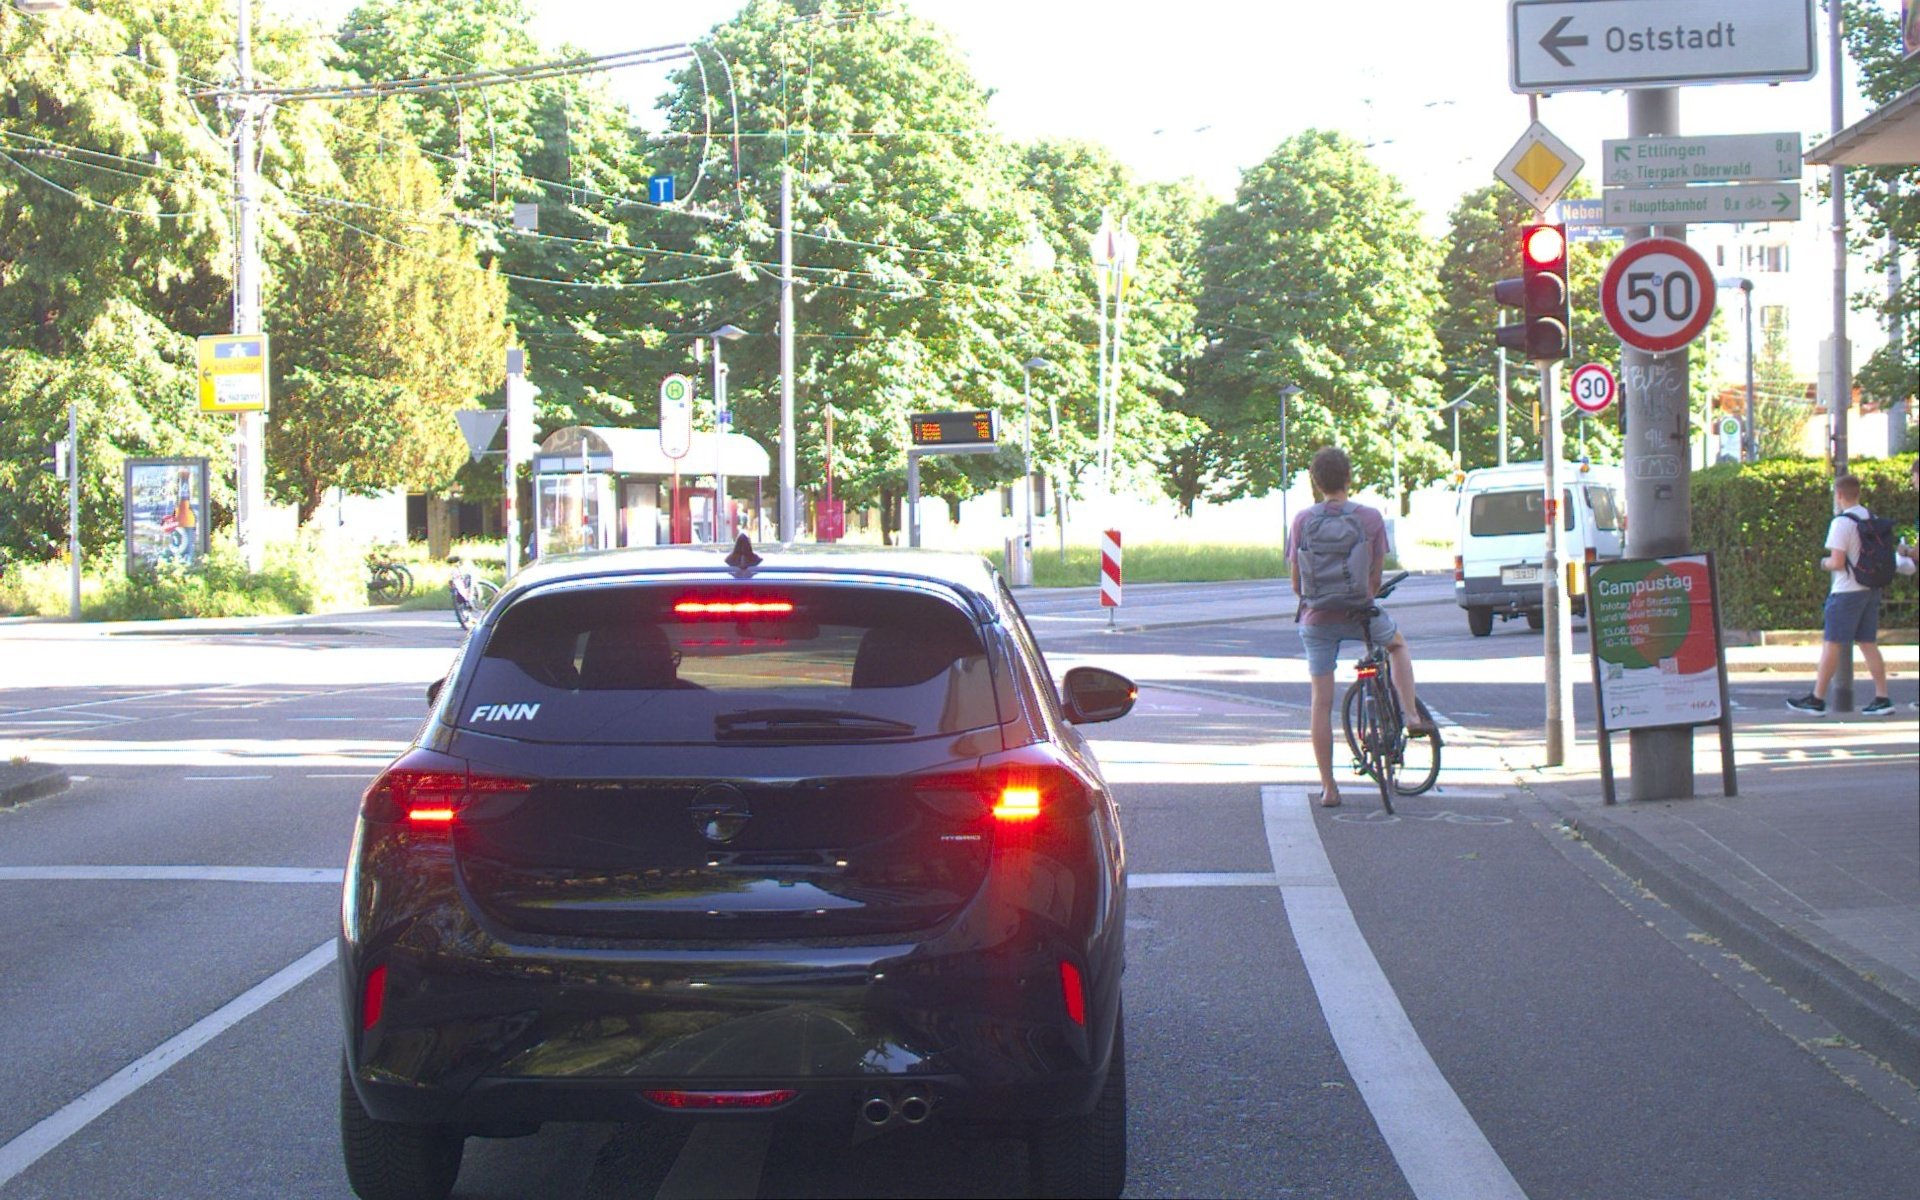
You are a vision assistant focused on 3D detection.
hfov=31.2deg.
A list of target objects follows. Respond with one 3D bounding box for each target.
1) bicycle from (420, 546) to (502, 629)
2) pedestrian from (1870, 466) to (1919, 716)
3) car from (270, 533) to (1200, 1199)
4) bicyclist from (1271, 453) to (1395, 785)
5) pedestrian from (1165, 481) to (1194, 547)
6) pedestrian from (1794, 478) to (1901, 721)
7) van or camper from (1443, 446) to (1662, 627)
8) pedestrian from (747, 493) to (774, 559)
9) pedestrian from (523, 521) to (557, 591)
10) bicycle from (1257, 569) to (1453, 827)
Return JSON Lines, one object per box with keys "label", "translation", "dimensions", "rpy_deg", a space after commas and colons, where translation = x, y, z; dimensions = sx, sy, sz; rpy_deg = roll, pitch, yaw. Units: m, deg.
{"label": "bicycle", "translation": [-6.695, -0.184, 46.234], "dimensions": [0.796, 1.061, 2.185], "rpy_deg": [0, 1, -1]}
{"label": "pedestrian", "translation": [7.181, -0.067, 25.195], "dimensions": [0.633, 1.814, 0.745], "rpy_deg": [1, 0, -25]}
{"label": "car", "translation": [-0.469, 0.570, 8.819], "dimensions": [1.840, 1.457, 3.984], "rpy_deg": [0, 1, -1]}
{"label": "bicyclist", "translation": [1.934, 0.091, 17.773], "dimensions": [0.534, 1.686, 0.567], "rpy_deg": [0, 1, 17]}
{"label": "pedestrian", "translation": [6.193, -2.431, 97.097], "dimensions": [0.519, 1.865, 0.604], "rpy_deg": [1, 1, 41]}
{"label": "pedestrian", "translation": [6.524, -0.006, 25.297], "dimensions": [0.633, 1.757, 0.582], "rpy_deg": [1, 0, 3]}
{"label": "van or camper", "translation": [8.037, -0.836, 46.292], "dimensions": [2.031, 2.302, 4.535], "rpy_deg": [1, 1, 21]}
{"label": "pedestrian", "translation": [-5.696, -2.111, 98.179], "dimensions": [0.737, 1.865, 0.662], "rpy_deg": [1, 0, -6]}
{"label": "pedestrian", "translation": [-8.851, -0.930, 72.463], "dimensions": [0.570, 1.467, 0.665], "rpy_deg": [0, 1, 7]}
{"label": "bicycle", "translation": [2.089, 0.474, 17.969], "dimensions": [0.753, 1.231, 2.014], "rpy_deg": [0, 1, 14]}
